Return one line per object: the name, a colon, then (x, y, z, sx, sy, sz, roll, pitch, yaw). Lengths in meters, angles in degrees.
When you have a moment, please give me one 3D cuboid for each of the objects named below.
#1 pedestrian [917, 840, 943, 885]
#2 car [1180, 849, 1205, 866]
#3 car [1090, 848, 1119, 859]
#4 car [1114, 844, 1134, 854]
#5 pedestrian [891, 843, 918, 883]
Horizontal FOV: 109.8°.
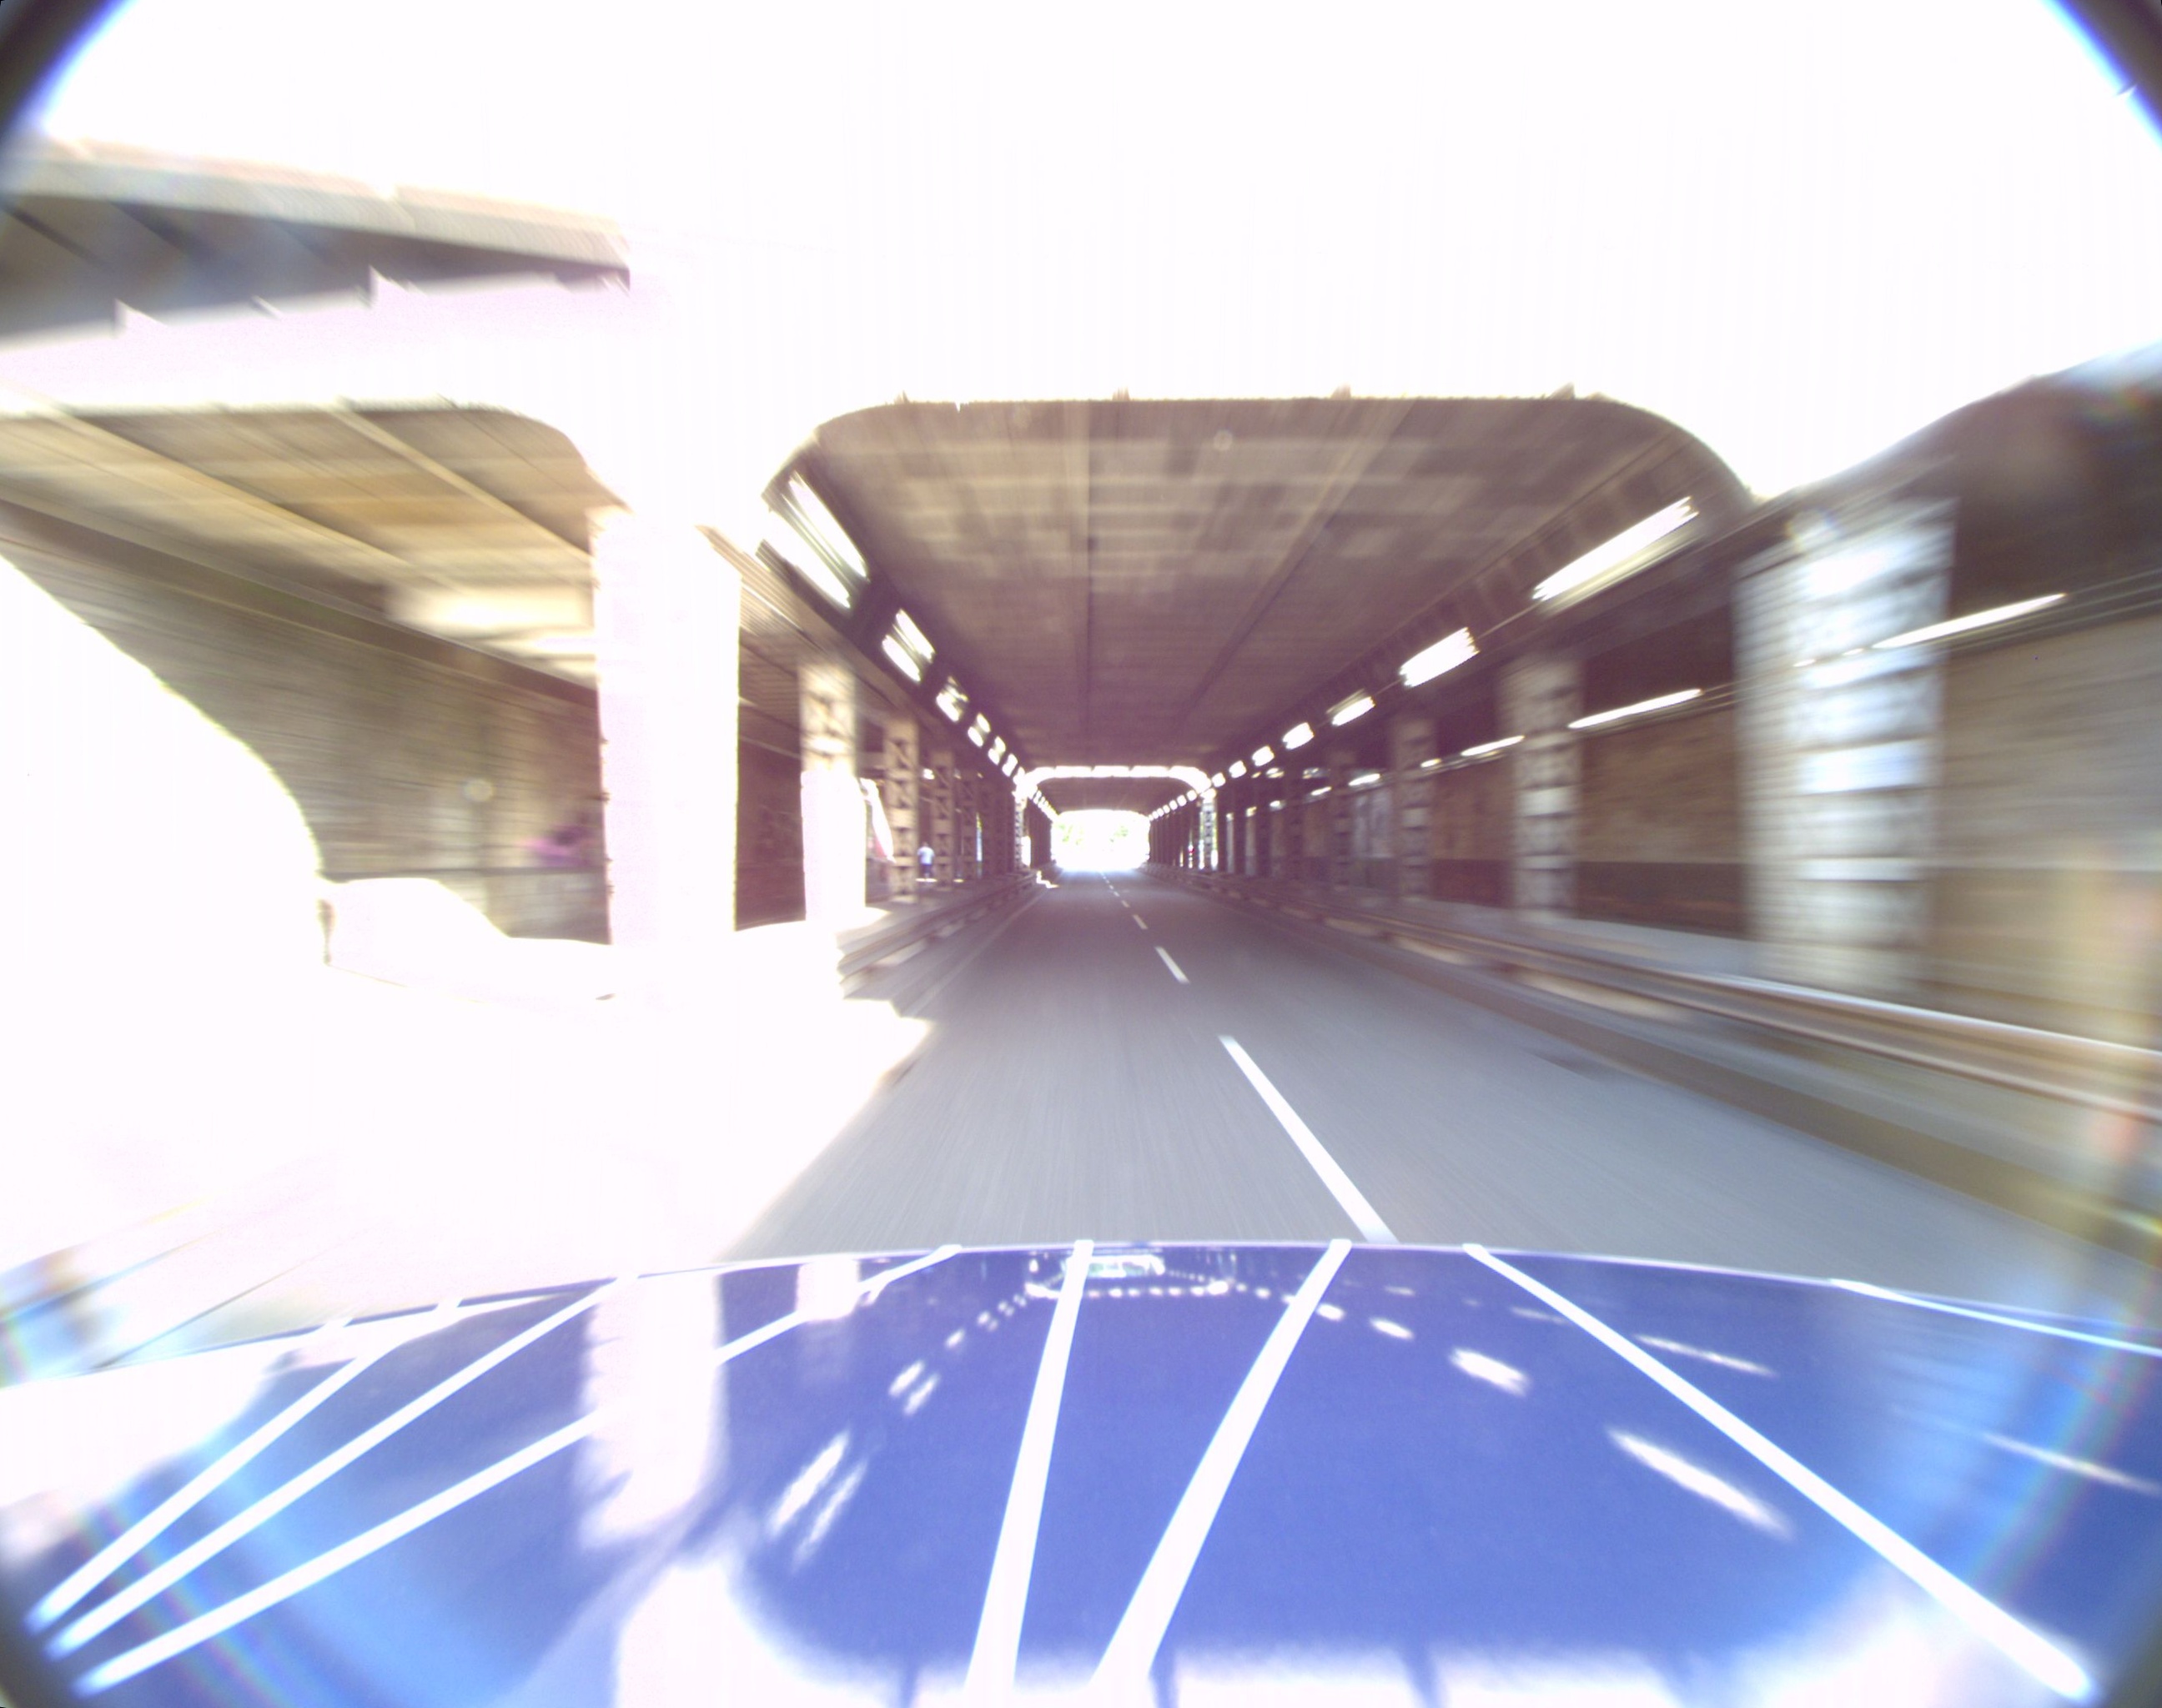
pedestrian: (-6.307, 0.340, 31.833, 0.882, 1.824, 0.922, 2, 1, -3)
car: (11.116, 0.304, 75.736, 1.953, 1.509, 4.391, 1, 2, 15)
car: (3.543, -0.059, 117.204, 4.322, 1.590, 1.859, -1, 2, -2)
car: (7.574, -0.916, 134.285, 1.843, 1.673, 3.991, -1, 1, -24)
pedestrian: (-7.503, 0.391, 32.270, 0.919, 1.646, 0.886, 2, 1, -3)
